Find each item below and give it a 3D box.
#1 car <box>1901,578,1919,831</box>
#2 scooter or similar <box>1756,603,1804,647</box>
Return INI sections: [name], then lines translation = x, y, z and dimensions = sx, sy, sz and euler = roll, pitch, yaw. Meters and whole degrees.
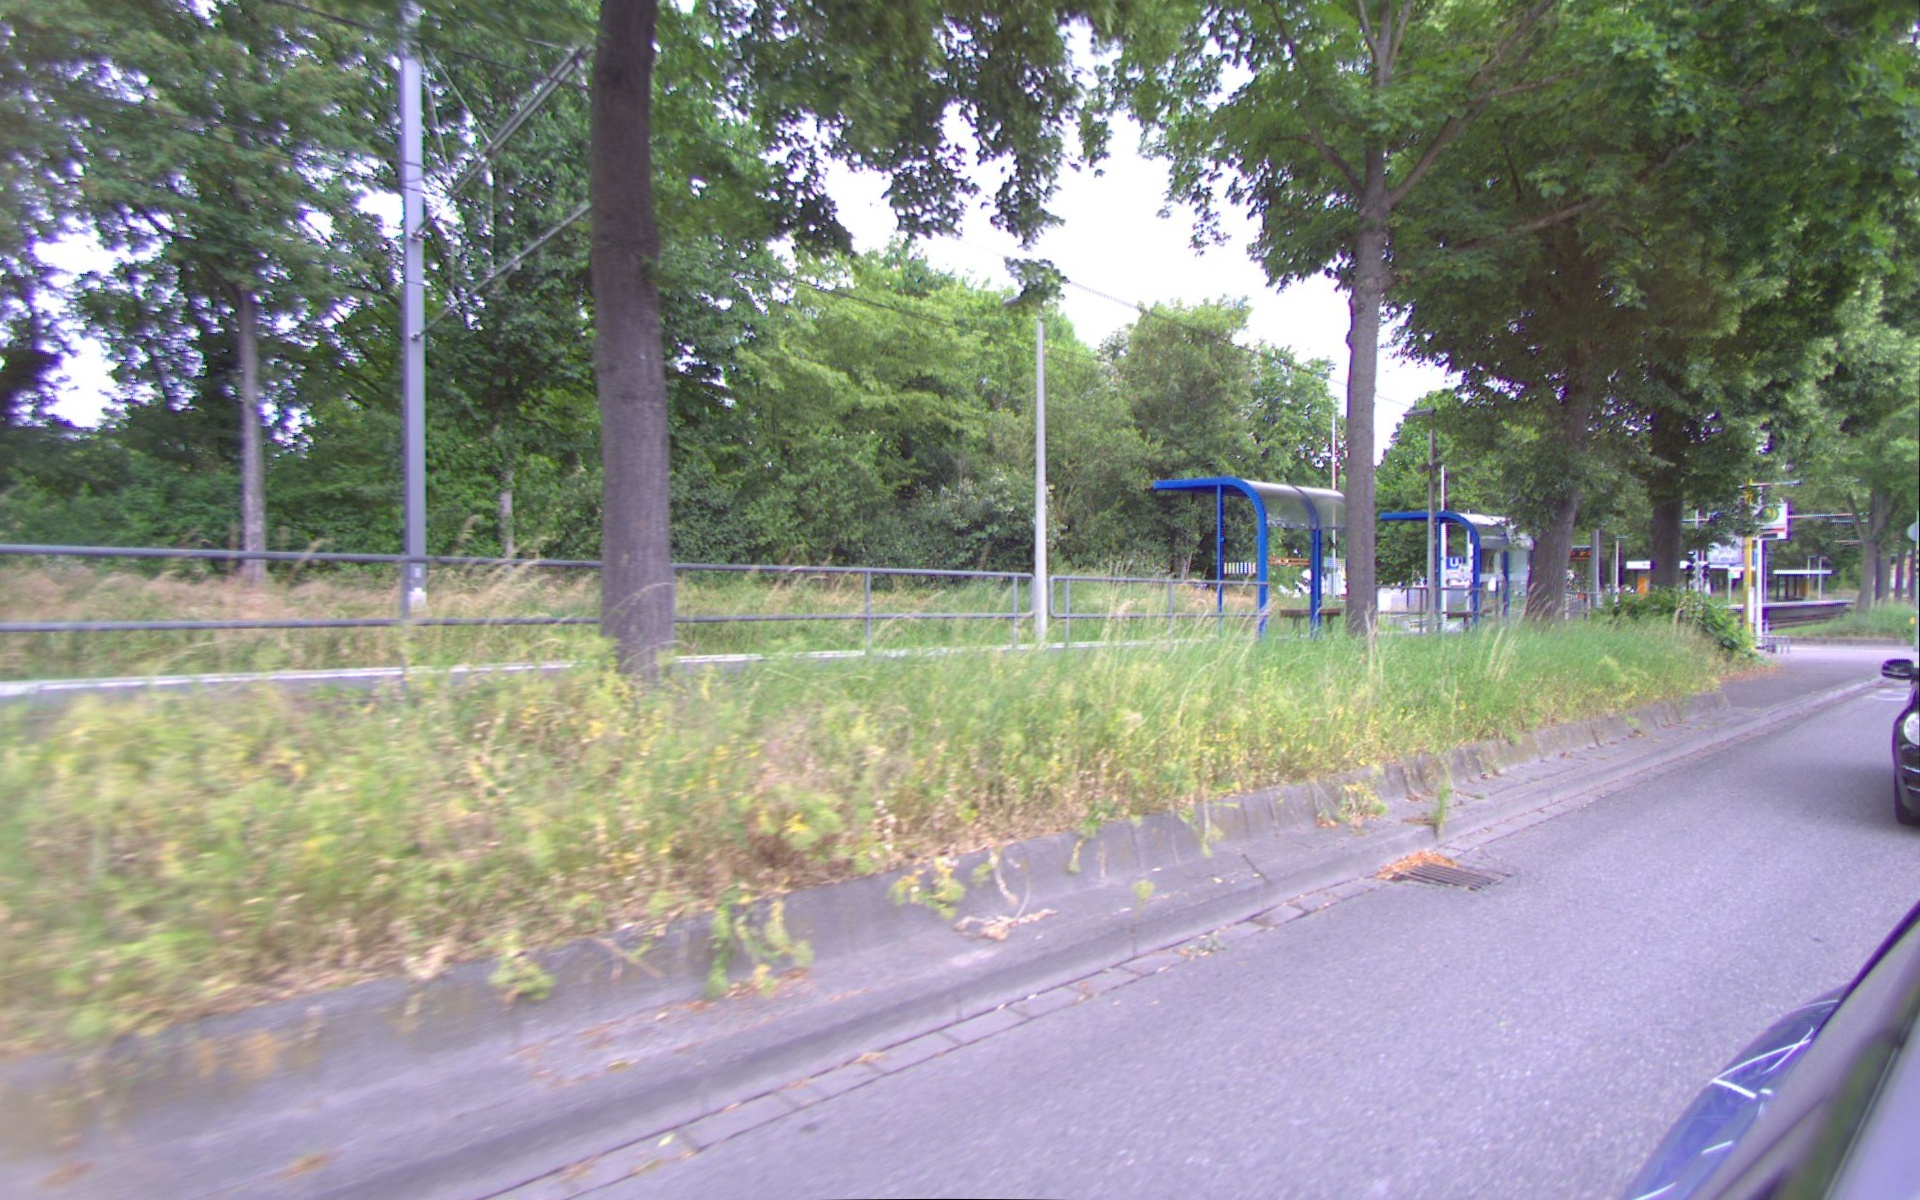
[car]
translation = 8.172, 0.646, 7.271
dimensions = 4.406, 1.594, 1.681
euler = 0, 0, -42
[scooter or similar]
translation = 24.100, 0.724, 29.746
dimensions = 1.084, 1.223, 0.358
euler = 1, 0, 42
